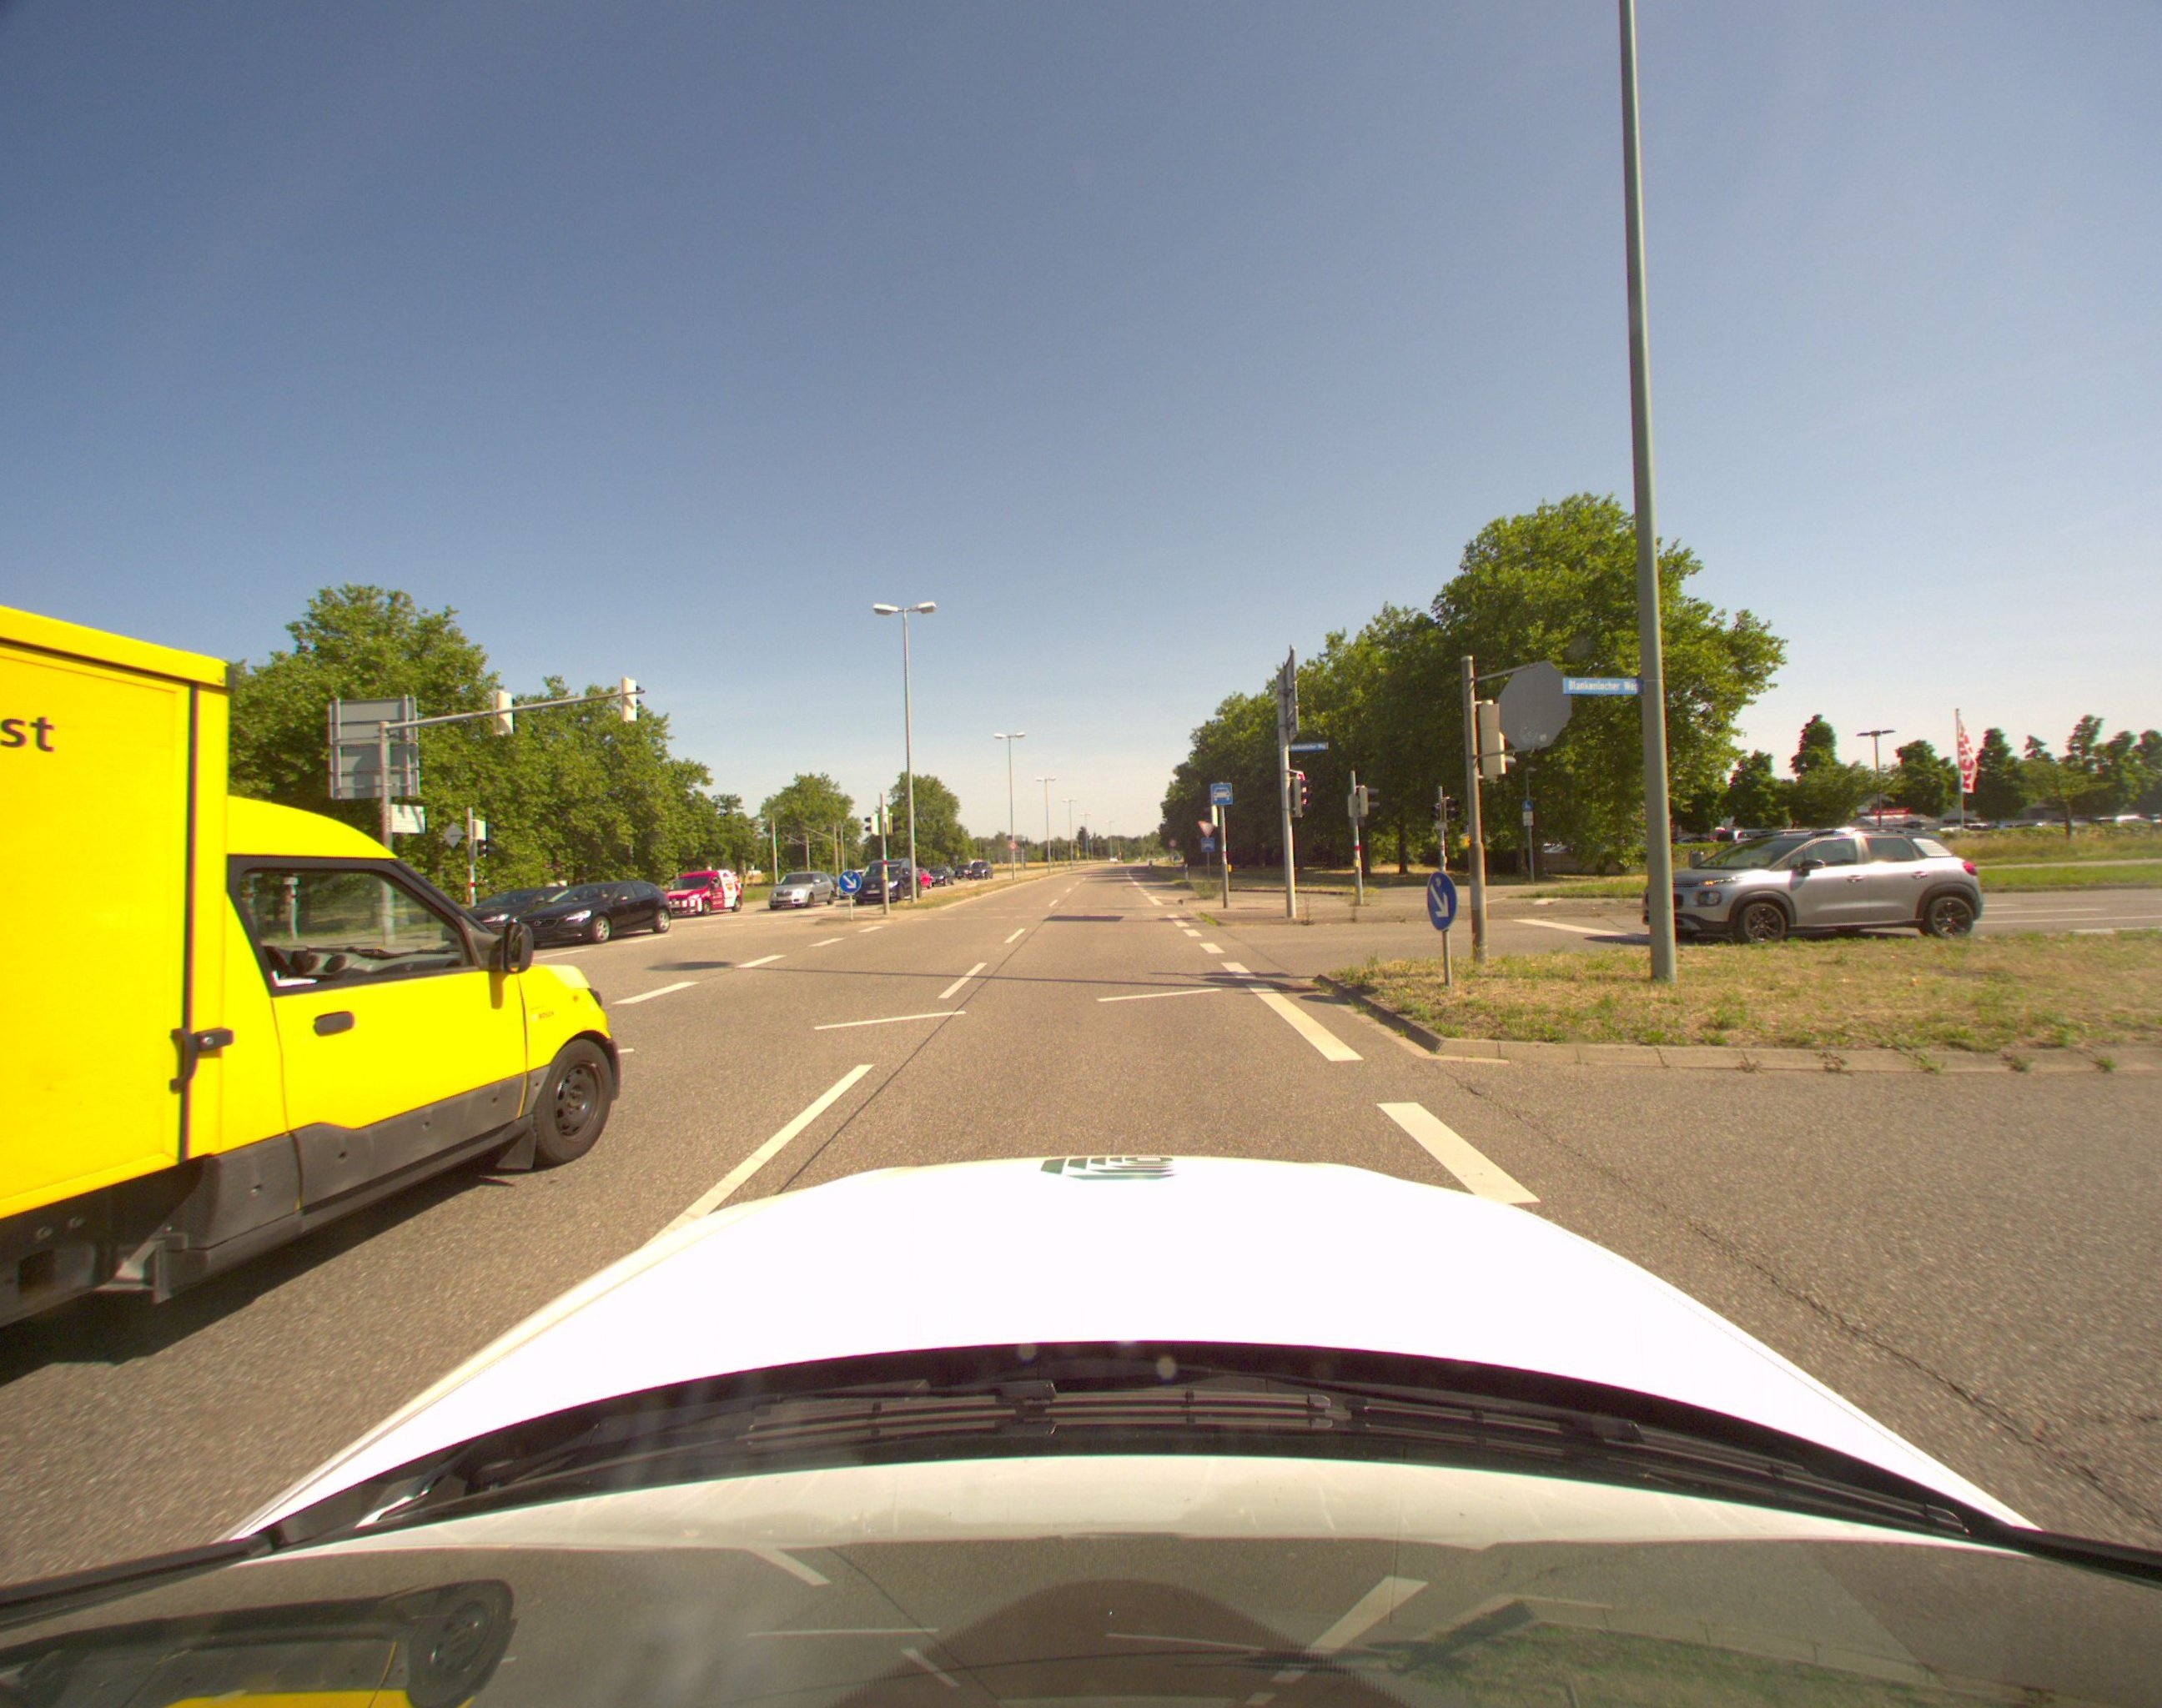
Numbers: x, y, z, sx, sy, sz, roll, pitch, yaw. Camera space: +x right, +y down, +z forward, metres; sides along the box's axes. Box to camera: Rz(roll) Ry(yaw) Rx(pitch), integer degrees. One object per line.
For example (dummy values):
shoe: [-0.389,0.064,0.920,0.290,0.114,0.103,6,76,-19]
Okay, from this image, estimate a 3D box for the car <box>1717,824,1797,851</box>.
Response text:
car: [49.340,-1.165,59.506,3.963,1.728,2.005,-3,-1,9]

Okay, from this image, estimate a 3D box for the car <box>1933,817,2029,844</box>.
car: [68.474,-1.752,62.069,4.452,1.750,1.999,-3,-1,24]

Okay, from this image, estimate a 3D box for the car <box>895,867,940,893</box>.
car: [-10.413,1.630,52.128,1.808,1.485,4.003,-2,0,3]

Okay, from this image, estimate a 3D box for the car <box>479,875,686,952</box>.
car: [-11.614,1.324,19.401,1.972,1.457,4.337,-3,-1,4]

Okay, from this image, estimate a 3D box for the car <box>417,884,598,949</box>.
car: [-15.735,1.658,22.684,1.878,1.457,4.232,-3,-1,2]

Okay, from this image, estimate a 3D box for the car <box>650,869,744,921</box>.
car: [-14.911,1.528,31.902,1.700,1.769,4.226,-3,0,-2]

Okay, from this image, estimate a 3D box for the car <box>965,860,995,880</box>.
car: [-9.617,1.493,77.578,1.973,1.779,4.493,-3,-1,3]

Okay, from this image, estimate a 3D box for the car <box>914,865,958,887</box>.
car: [-10.368,1.545,58.489,1.972,1.457,4.455,-3,-1,4]

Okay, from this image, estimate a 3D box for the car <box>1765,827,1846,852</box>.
car: [58.161,-1.137,65.461,4.469,1.750,1.991,-3,-1,6]

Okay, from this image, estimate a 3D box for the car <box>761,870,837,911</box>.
car: [-11.413,1.439,33.250,1.613,1.457,3.872,-2,-1,1]

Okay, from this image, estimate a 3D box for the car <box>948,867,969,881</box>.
car: [-13.193,2.139,88.048,1.979,1.457,4.220,-2,-1,-6]

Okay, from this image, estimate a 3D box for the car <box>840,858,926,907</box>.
car: [-7.757,1.058,32.368,1.972,1.750,4.513,-2,-1,4]

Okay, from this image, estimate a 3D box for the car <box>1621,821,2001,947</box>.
car: [10.691,0.423,12.163,4.037,1.564,1.743,-3,-1,1]

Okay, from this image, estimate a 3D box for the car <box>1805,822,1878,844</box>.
car: [70.062,-1.912,75.061,4.462,1.750,1.995,-3,-1,13]

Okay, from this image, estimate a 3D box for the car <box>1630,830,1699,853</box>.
car: [51.227,-1.078,71.588,4.469,1.750,1.991,-3,-1,6]

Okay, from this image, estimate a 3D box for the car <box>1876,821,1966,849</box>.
car: [58.750,-1.334,57.032,3.963,1.728,2.005,-3,-1,9]

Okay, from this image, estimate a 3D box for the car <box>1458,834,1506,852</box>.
car: [39.760,-1.052,80.791,3.958,1.684,2.007,-1,-1,14]

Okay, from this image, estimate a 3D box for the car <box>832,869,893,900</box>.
car: [-11.206,1.534,42.109,1.820,1.386,3.847,-3,-1,4]

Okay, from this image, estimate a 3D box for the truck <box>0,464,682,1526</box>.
truck: [-3.559,0.340,1.973,2.104,2.457,5.918,-2,-1,1]

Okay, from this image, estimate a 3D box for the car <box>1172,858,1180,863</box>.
car: [28.949,2.059,248.346,1.968,1.457,4.130,-3,0,11]

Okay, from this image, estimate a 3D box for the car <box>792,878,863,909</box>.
car: [-14.682,2.260,47.616,1.984,1.474,5.623,-3,-1,4]
